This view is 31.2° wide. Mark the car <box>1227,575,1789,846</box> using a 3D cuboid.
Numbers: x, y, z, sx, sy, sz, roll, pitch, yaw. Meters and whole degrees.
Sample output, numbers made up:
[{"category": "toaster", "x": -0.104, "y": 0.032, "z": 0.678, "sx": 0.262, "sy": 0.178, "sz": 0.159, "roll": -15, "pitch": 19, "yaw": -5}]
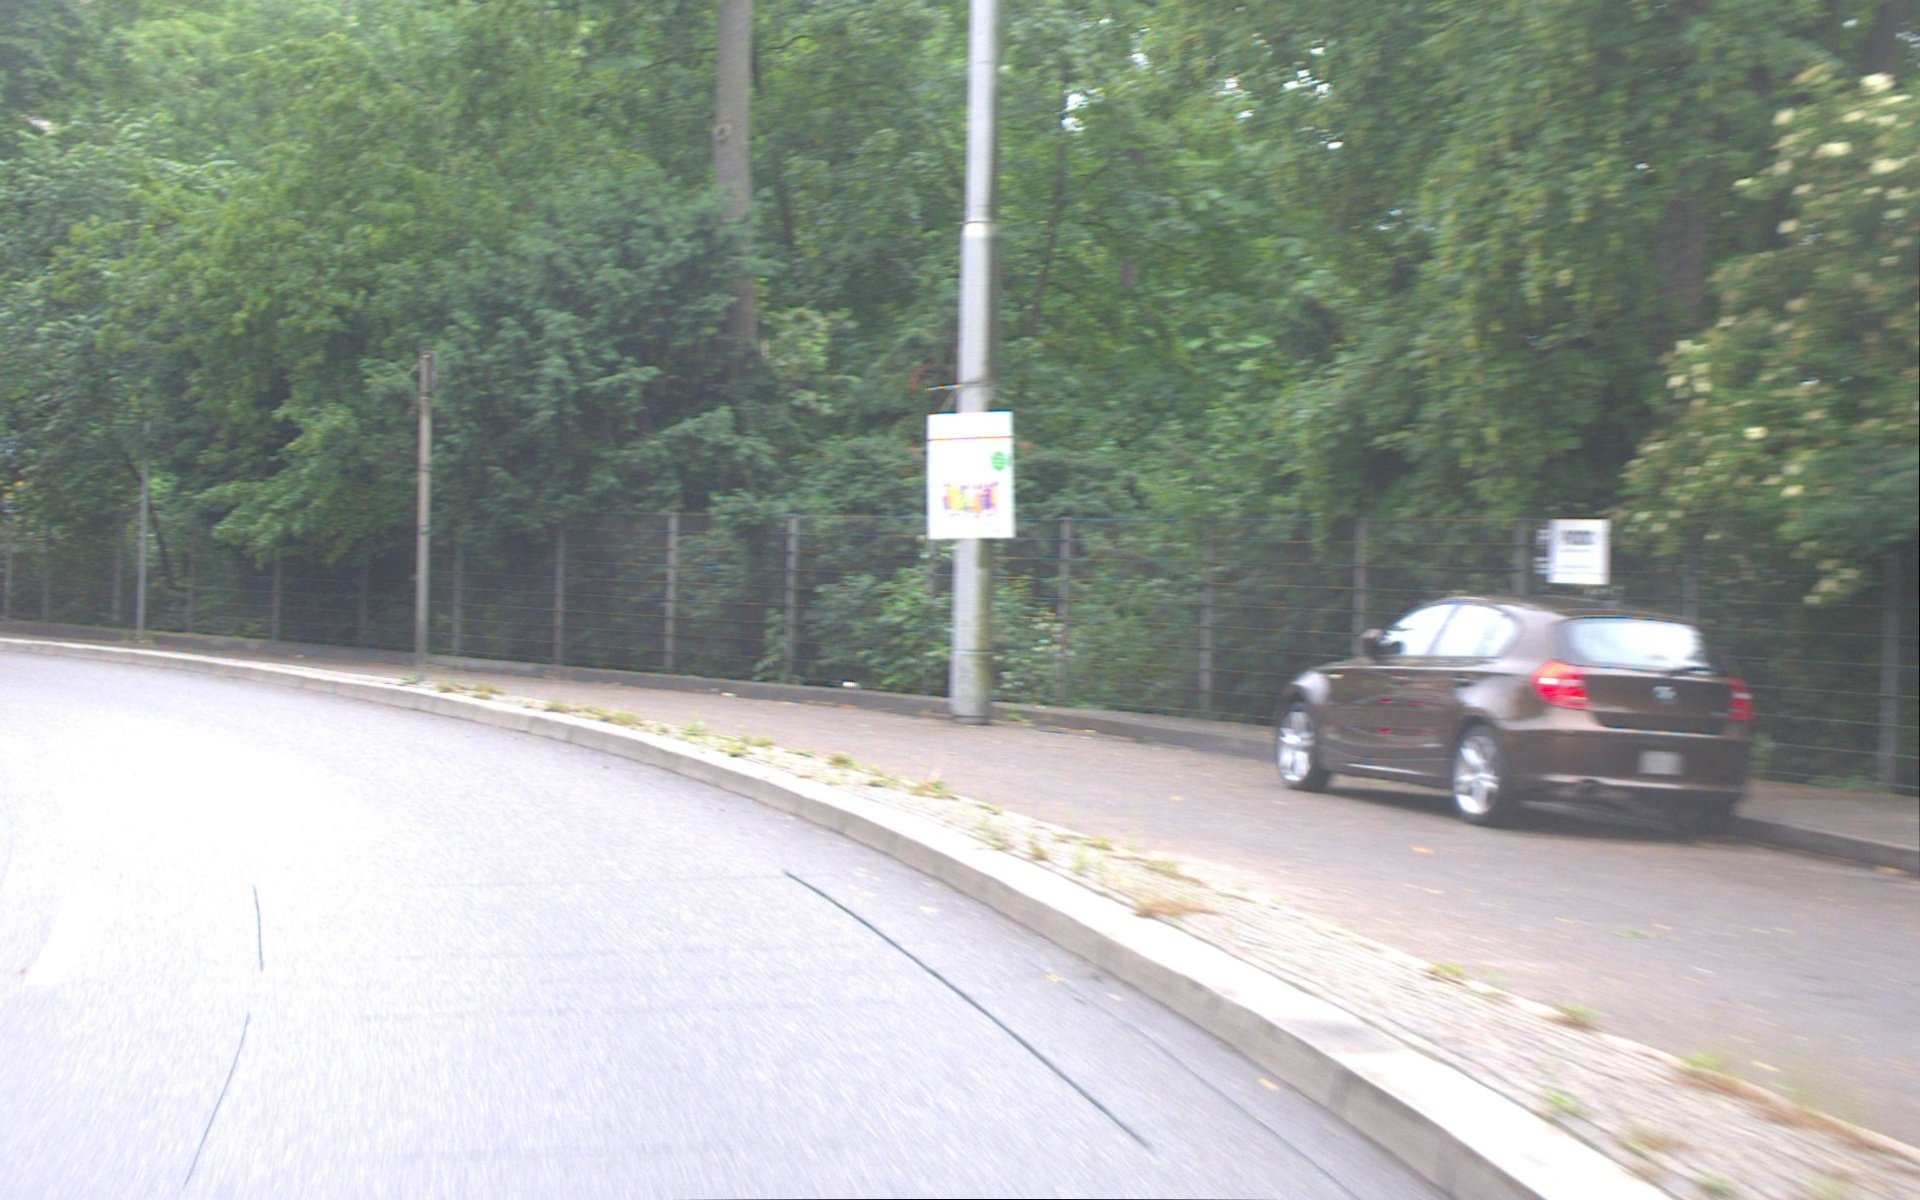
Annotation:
[{"category": "car", "x": 3.418, "y": 0.648, "z": 22.361, "sx": 1.687, "sy": 1.421, "sz": 4.372, "roll": 4, "pitch": 0, "yaw": -19}]
